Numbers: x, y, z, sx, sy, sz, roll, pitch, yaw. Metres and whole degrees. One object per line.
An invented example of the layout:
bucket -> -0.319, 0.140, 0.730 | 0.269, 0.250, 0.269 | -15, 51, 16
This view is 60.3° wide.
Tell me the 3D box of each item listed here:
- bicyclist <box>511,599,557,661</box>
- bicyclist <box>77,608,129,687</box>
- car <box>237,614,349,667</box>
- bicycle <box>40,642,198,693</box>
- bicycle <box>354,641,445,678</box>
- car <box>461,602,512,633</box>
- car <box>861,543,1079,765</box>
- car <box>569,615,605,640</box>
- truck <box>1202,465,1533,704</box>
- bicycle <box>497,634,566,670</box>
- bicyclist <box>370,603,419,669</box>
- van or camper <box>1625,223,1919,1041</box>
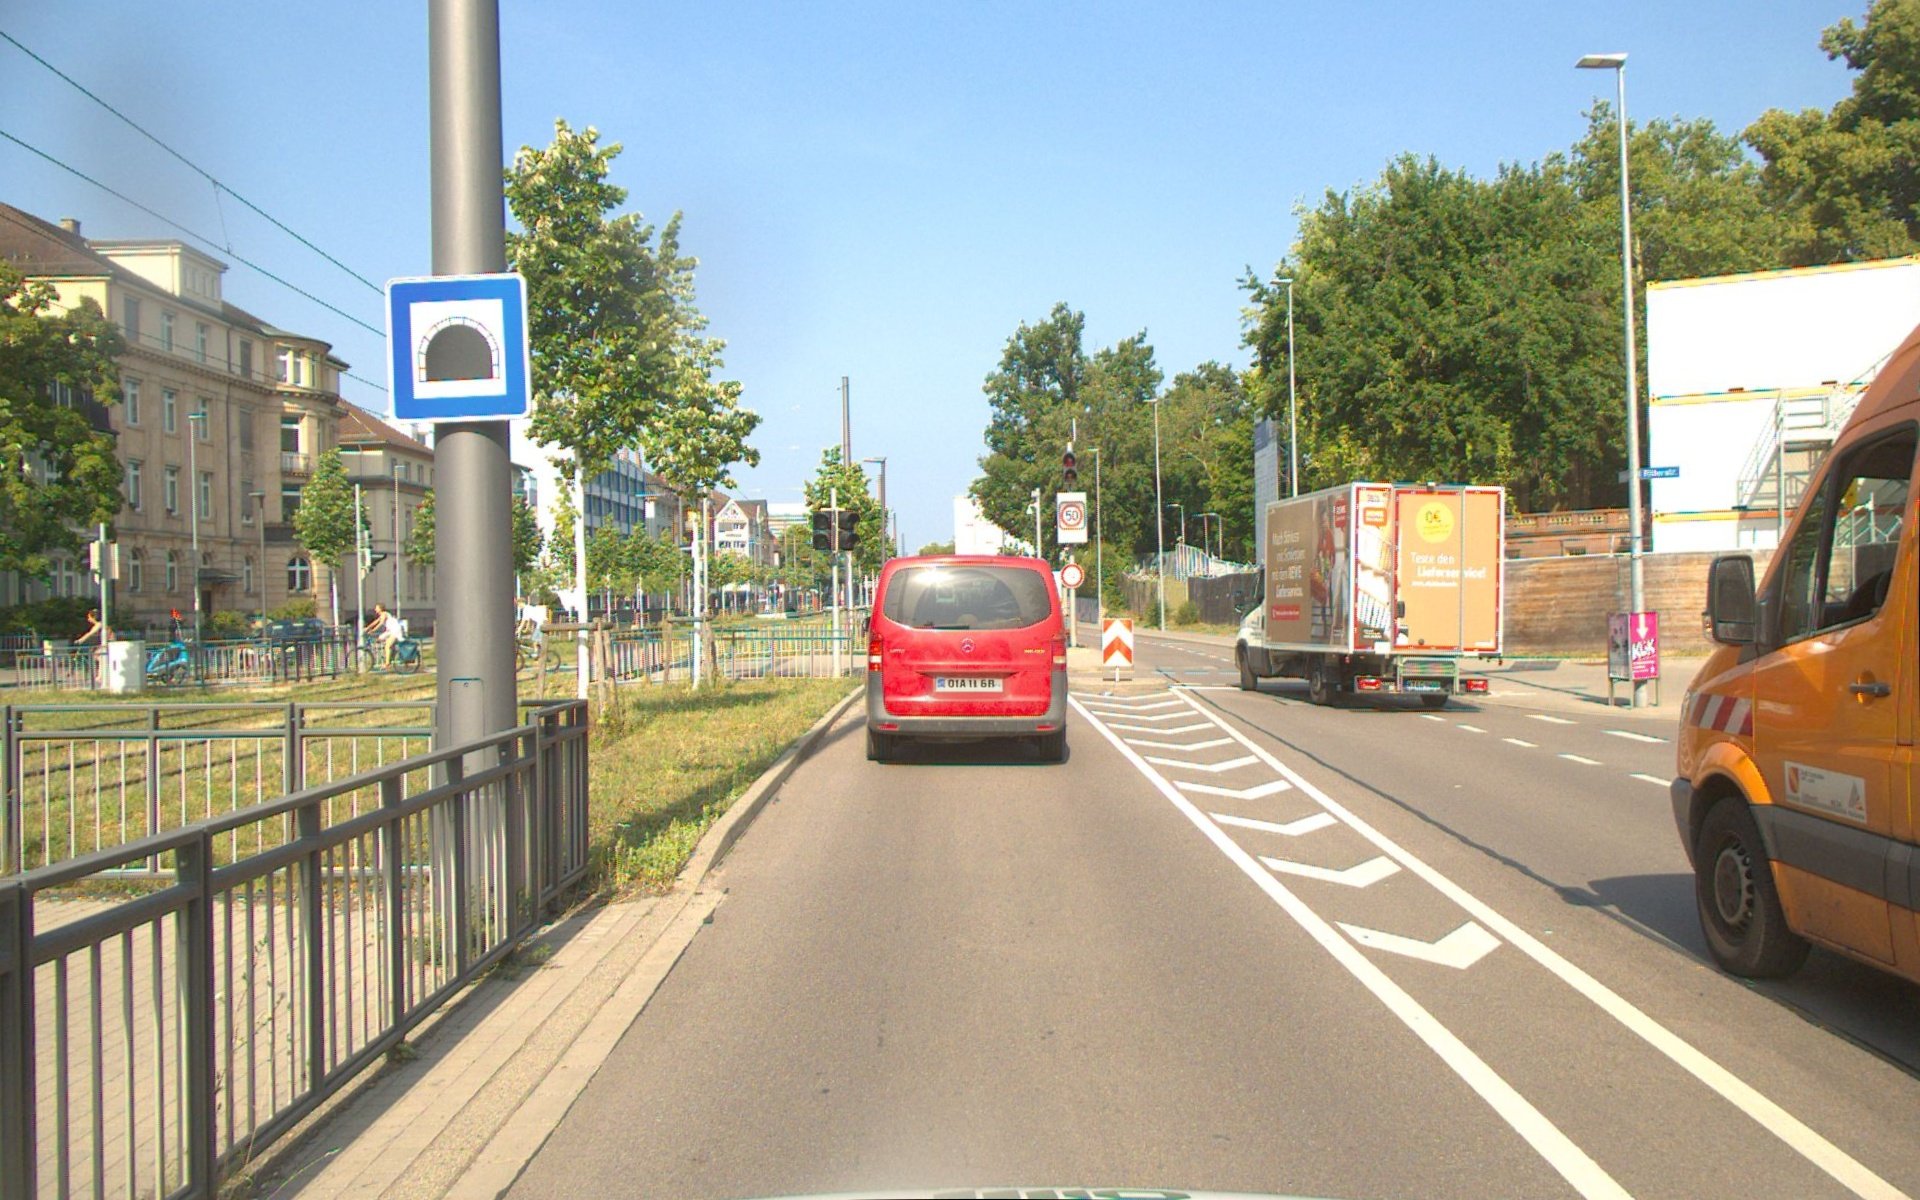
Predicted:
bicyclist -> -10.137, 0.710, 39.398 | 0.672, 1.466, 0.805 | 0, -1, 28
bicyclist -> -18.542, 1.017, 35.793 | 0.882, 1.657, 0.881 | -1, 0, -35
car -> -21.362, 1.266, 53.160 | 1.954, 1.539, 4.395 | -1, 0, -3
bicycle -> -18.275, 1.450, 35.998 | 2.965, 0.982, 0.889 | -1, 0, -37
bicycle -> -13.287, 1.405, 39.255 | 1.960, 0.807, 0.628 | -2, 0, -11
car -> -32.606, 1.226, 114.070 | 2.204, 2.049, 5.260 | 1, -2, -3
car -> 0.158, 0.465, 16.273 | 1.861, 1.892, 4.001 | 0, 0, 2
car -> -28.867, 2.125, 128.164 | 1.878, 1.844, 3.999 | 1, -1, 0
truck -> 5.959, -0.162, 25.679 | 2.454, 3.114, 7.809 | 1, -1, -6
bicycle -> -10.174, 1.228, 39.341 | 0.704, 0.812, 1.602 | 0, -1, 27
bicyclist -> -13.411, 0.845, 39.231 | 0.965, 1.526, 0.619 | -1, 0, -10
van or camper -> 3.905, 0.107, 4.468 | 1.945, 2.515, 6.063 | 1, 0, 2
